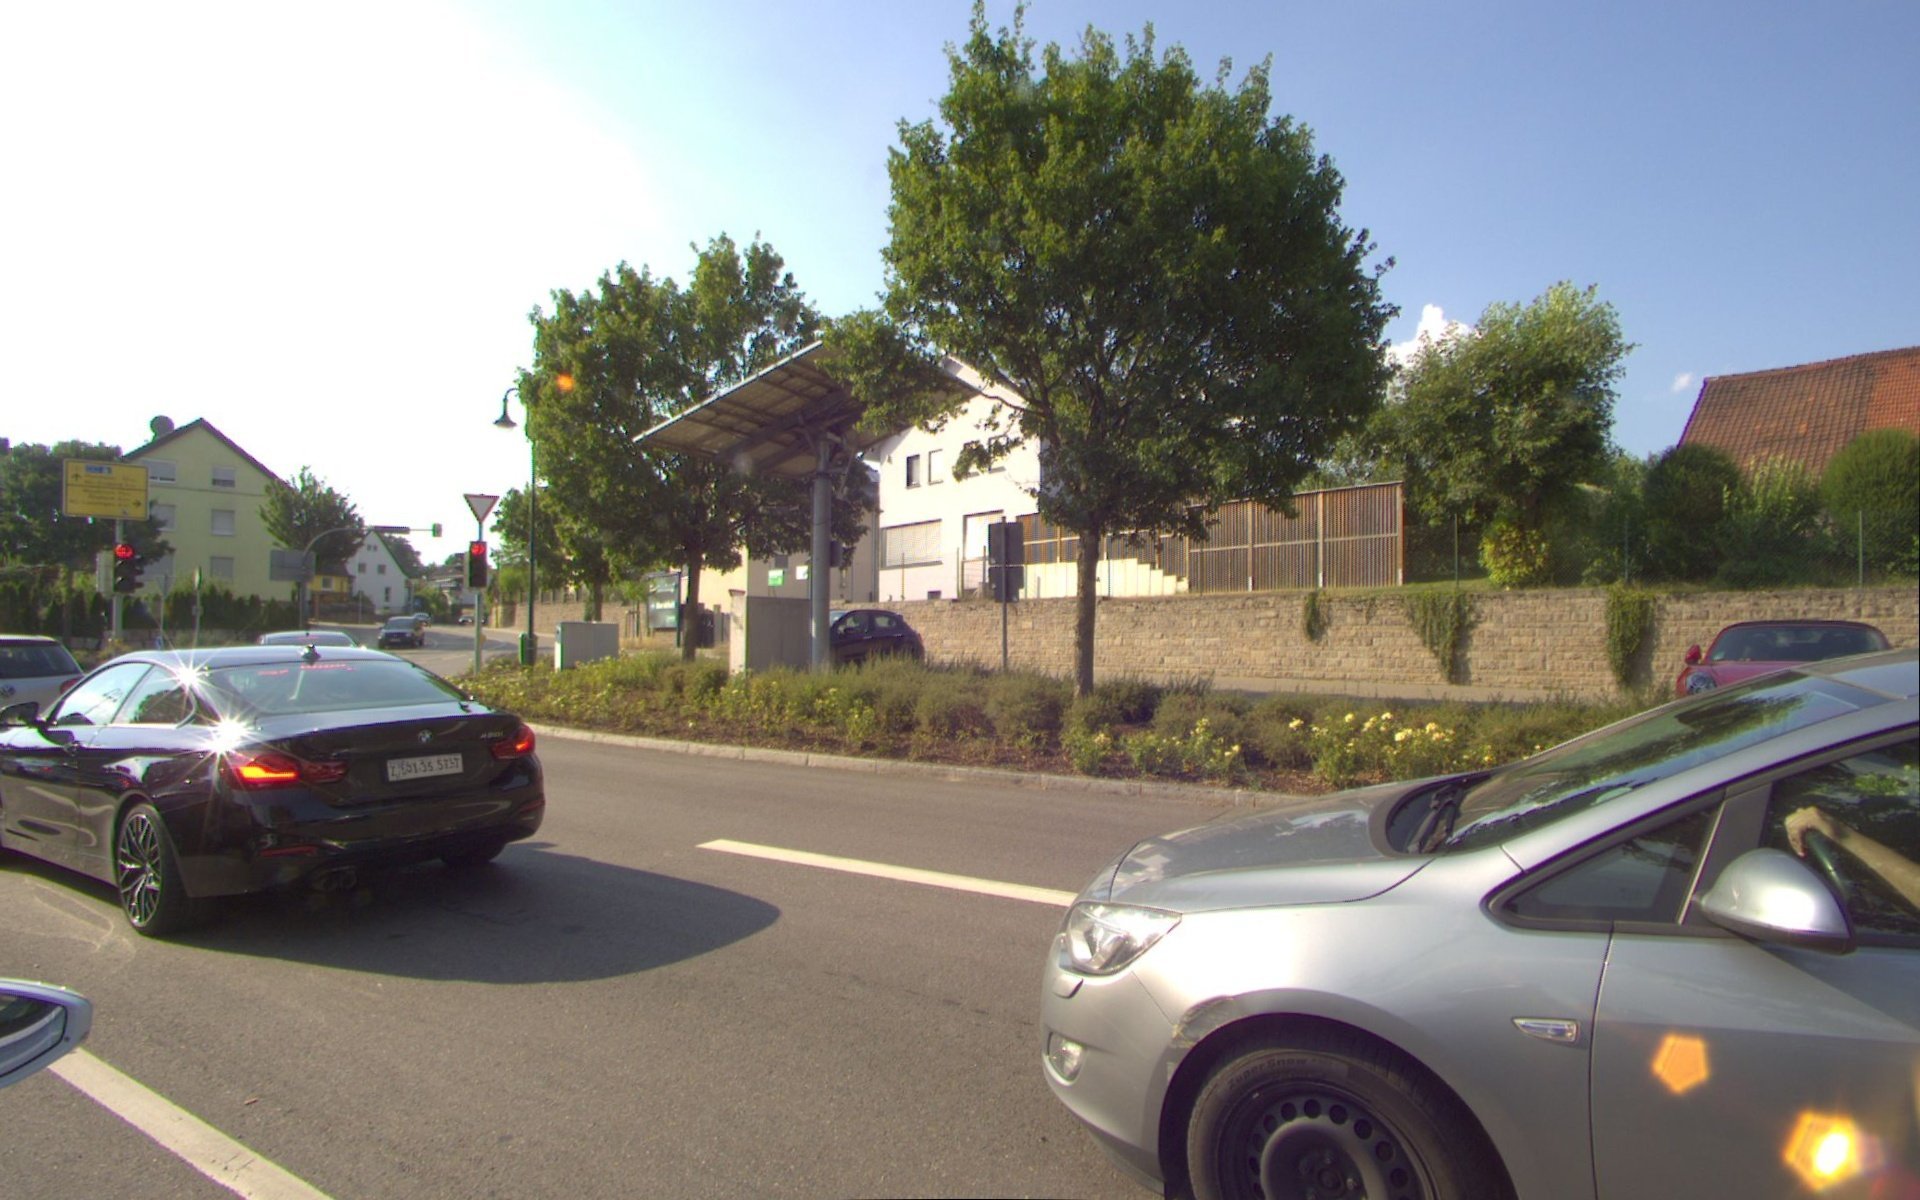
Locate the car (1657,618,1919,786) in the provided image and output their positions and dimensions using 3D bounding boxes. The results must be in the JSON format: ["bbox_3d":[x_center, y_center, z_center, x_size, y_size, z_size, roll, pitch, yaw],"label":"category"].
[{"bbox_3d":[8.213,0.848,9.643,1.835,1.288,3.964,-1,-2,45],"label":"car"}]

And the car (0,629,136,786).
[{"bbox_3d":[-10.710,1.045,10.693,4.287,1.465,1.812,-1,-2,34],"label":"car"}]

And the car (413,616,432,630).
[{"bbox_3d":[-58.022,2.489,108.147,1.690,1.261,3.981,1,2,-26],"label":"car"}]

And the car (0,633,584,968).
[{"bbox_3d":[-4.445,0.918,6.227,4.287,1.406,1.812,-1,-2,34],"label":"car"}]

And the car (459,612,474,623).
[{"bbox_3d":[-74.524,2.614,151.352,1.753,1.600,3.989,1,-2,-22],"label":"car"}]

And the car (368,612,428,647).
[{"bbox_3d":[-29.488,1.524,52.655,1.760,1.528,4.060,0,3,-15],"label":"car"}]

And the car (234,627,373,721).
[{"bbox_3d":[-11.791,1.220,17.858,1.667,1.454,4.553,1,-2,-39],"label":"car"}]

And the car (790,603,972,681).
[{"bbox_3d":[-1.747,0.957,23.024,1.835,1.628,3.964,-1,-2,45],"label":"car"}]

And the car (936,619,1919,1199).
[{"bbox_3d":[2.131,0.780,2.203,4.107,1.460,1.741,-1,-2,32],"label":"car"}]
